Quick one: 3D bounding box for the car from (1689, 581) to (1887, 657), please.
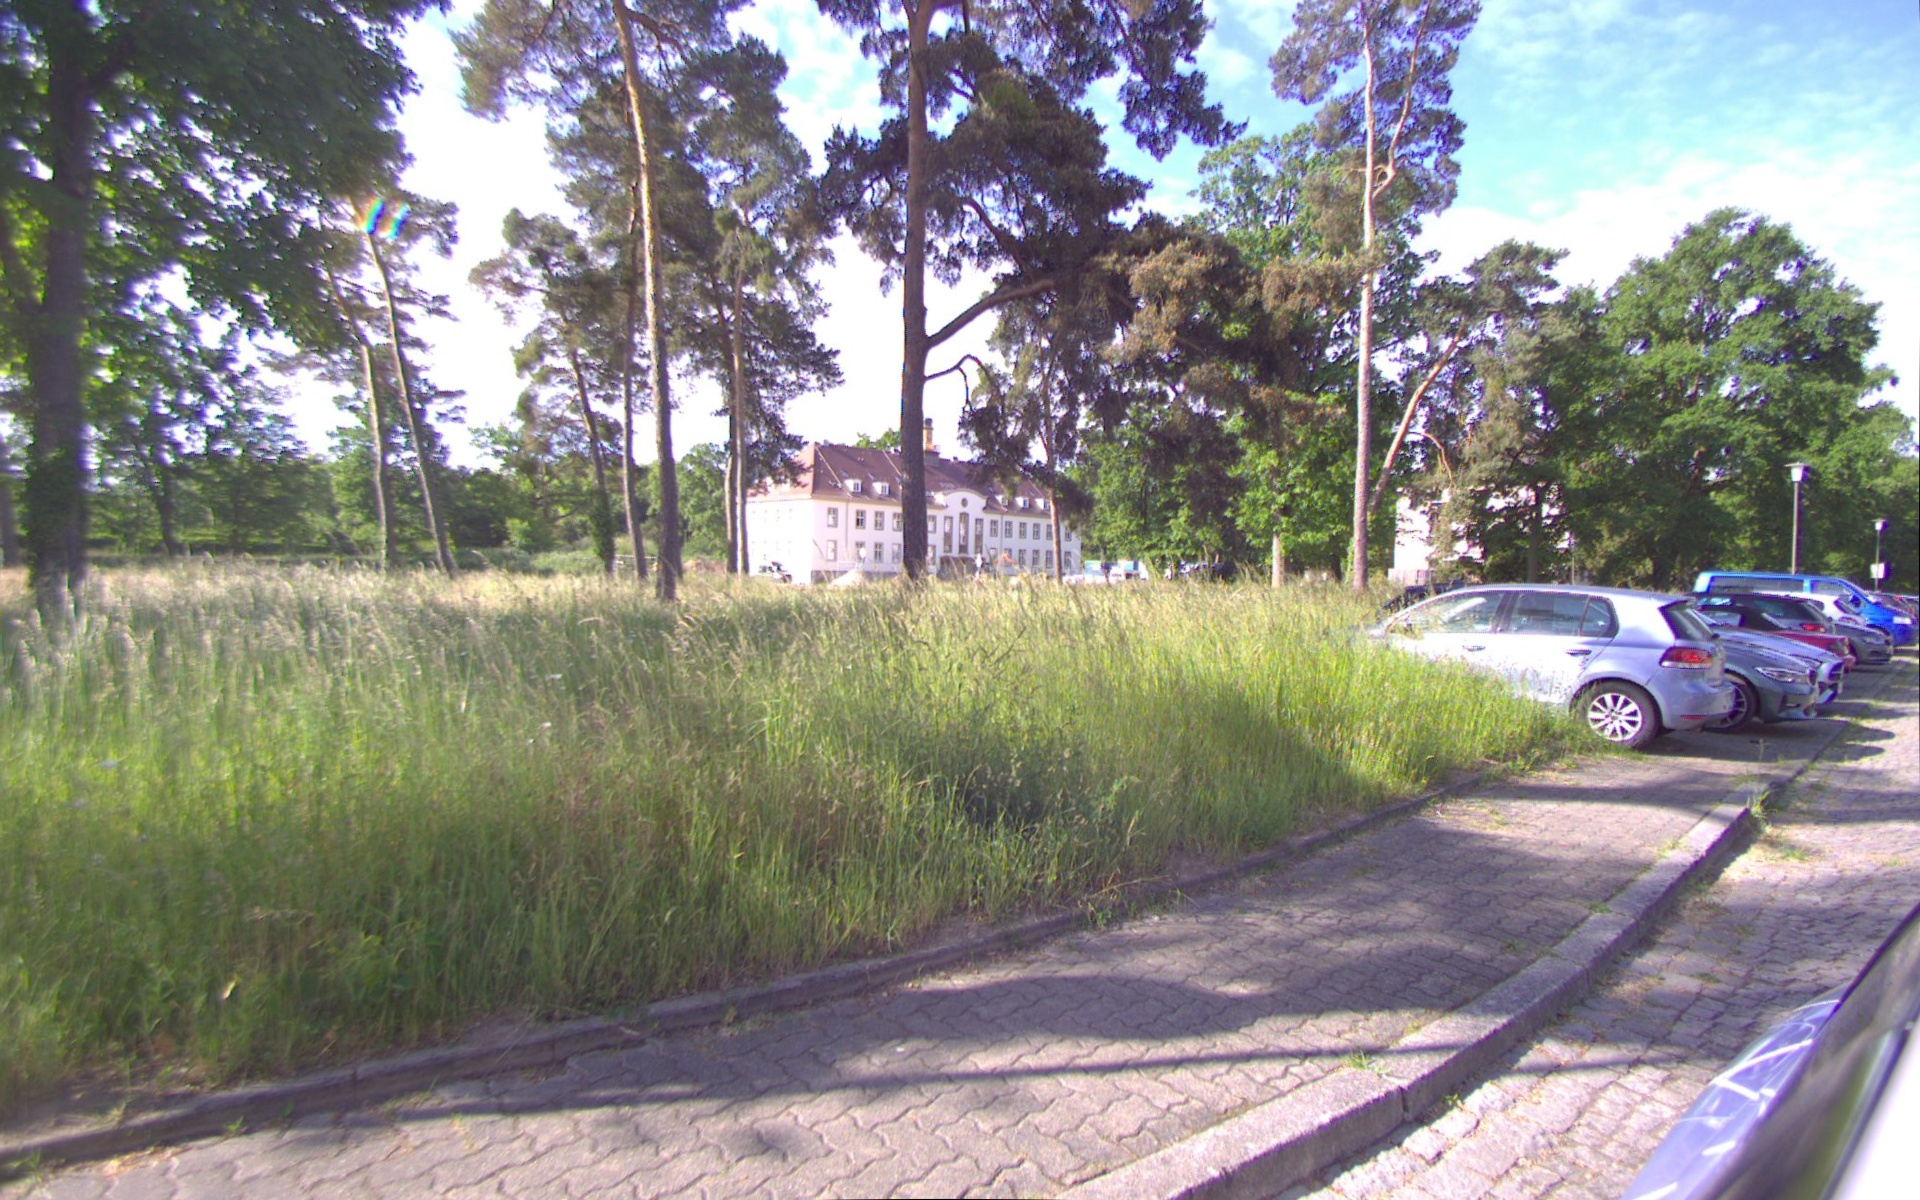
[{"bbox_3d":[18.726,0.371,22.970,1.424,1.509,3.263,0,2,-41],"label":"car"}]

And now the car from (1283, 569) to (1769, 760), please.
[{"bbox_3d":[5.676,0.481,10.514,1.840,1.478,4.020,-1,3,-44],"label":"car"}]

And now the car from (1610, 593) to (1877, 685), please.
[{"bbox_3d":[12.983,0.574,16.894,1.396,1.271,3.352,0,2,-44],"label":"car"}]

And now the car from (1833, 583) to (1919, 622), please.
[{"bbox_3d":[43.247,0.106,46.948,1.726,1.763,3.994,0,1,-40],"label":"car"}]

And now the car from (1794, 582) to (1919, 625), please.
[{"bbox_3d":[35.871,0.121,40.168,1.726,1.537,3.996,0,2,-40],"label":"car"}]

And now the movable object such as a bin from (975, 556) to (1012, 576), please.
[{"bbox_3d":[4.314,-4.330,128.756,1.993,2.351,4.910,3,2,43],"label":"movable object such as a bin"}]

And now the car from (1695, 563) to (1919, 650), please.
[{"bbox_3d":[22.497,0.088,26.692,1.966,2.038,4.723,0,2,-42],"label":"car"}]

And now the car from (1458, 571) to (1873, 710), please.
[{"bbox_3d":[9.577,0.419,14.031,1.796,1.419,4.417,0,4,-44],"label":"car"}]

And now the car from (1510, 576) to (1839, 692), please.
[{"bbox_3d":[10.985,0.425,15.753,1.633,1.410,3.913,0,4,-44],"label":"car"}]

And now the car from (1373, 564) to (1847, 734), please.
[{"bbox_3d":[7.593,0.417,12.155,4.496,1.535,1.797,4,4,44],"label":"car"}]

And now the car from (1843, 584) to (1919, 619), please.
[{"bbox_3d":[46.495,0.074,50.083,1.725,1.635,3.995,-2,0,-39],"label":"car"}]

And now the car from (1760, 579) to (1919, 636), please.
[{"bbox_3d":[28.720,0.200,32.900,1.726,1.660,3.995,0,2,-40],"label":"car"}]

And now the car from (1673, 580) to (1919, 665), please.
[{"bbox_3d":[16.991,0.385,20.711,1.478,1.509,3.629,0,2,-33],"label":"car"}]

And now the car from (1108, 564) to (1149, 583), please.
[{"bbox_3d":[18.683,-2.936,112.028,4.692,2.038,1.996,0,2,-43],"label":"car"}]

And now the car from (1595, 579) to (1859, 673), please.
[{"bbox_3d":[14.406,0.406,19.155,1.523,1.509,3.774,0,2,-44],"label":"car"}]
